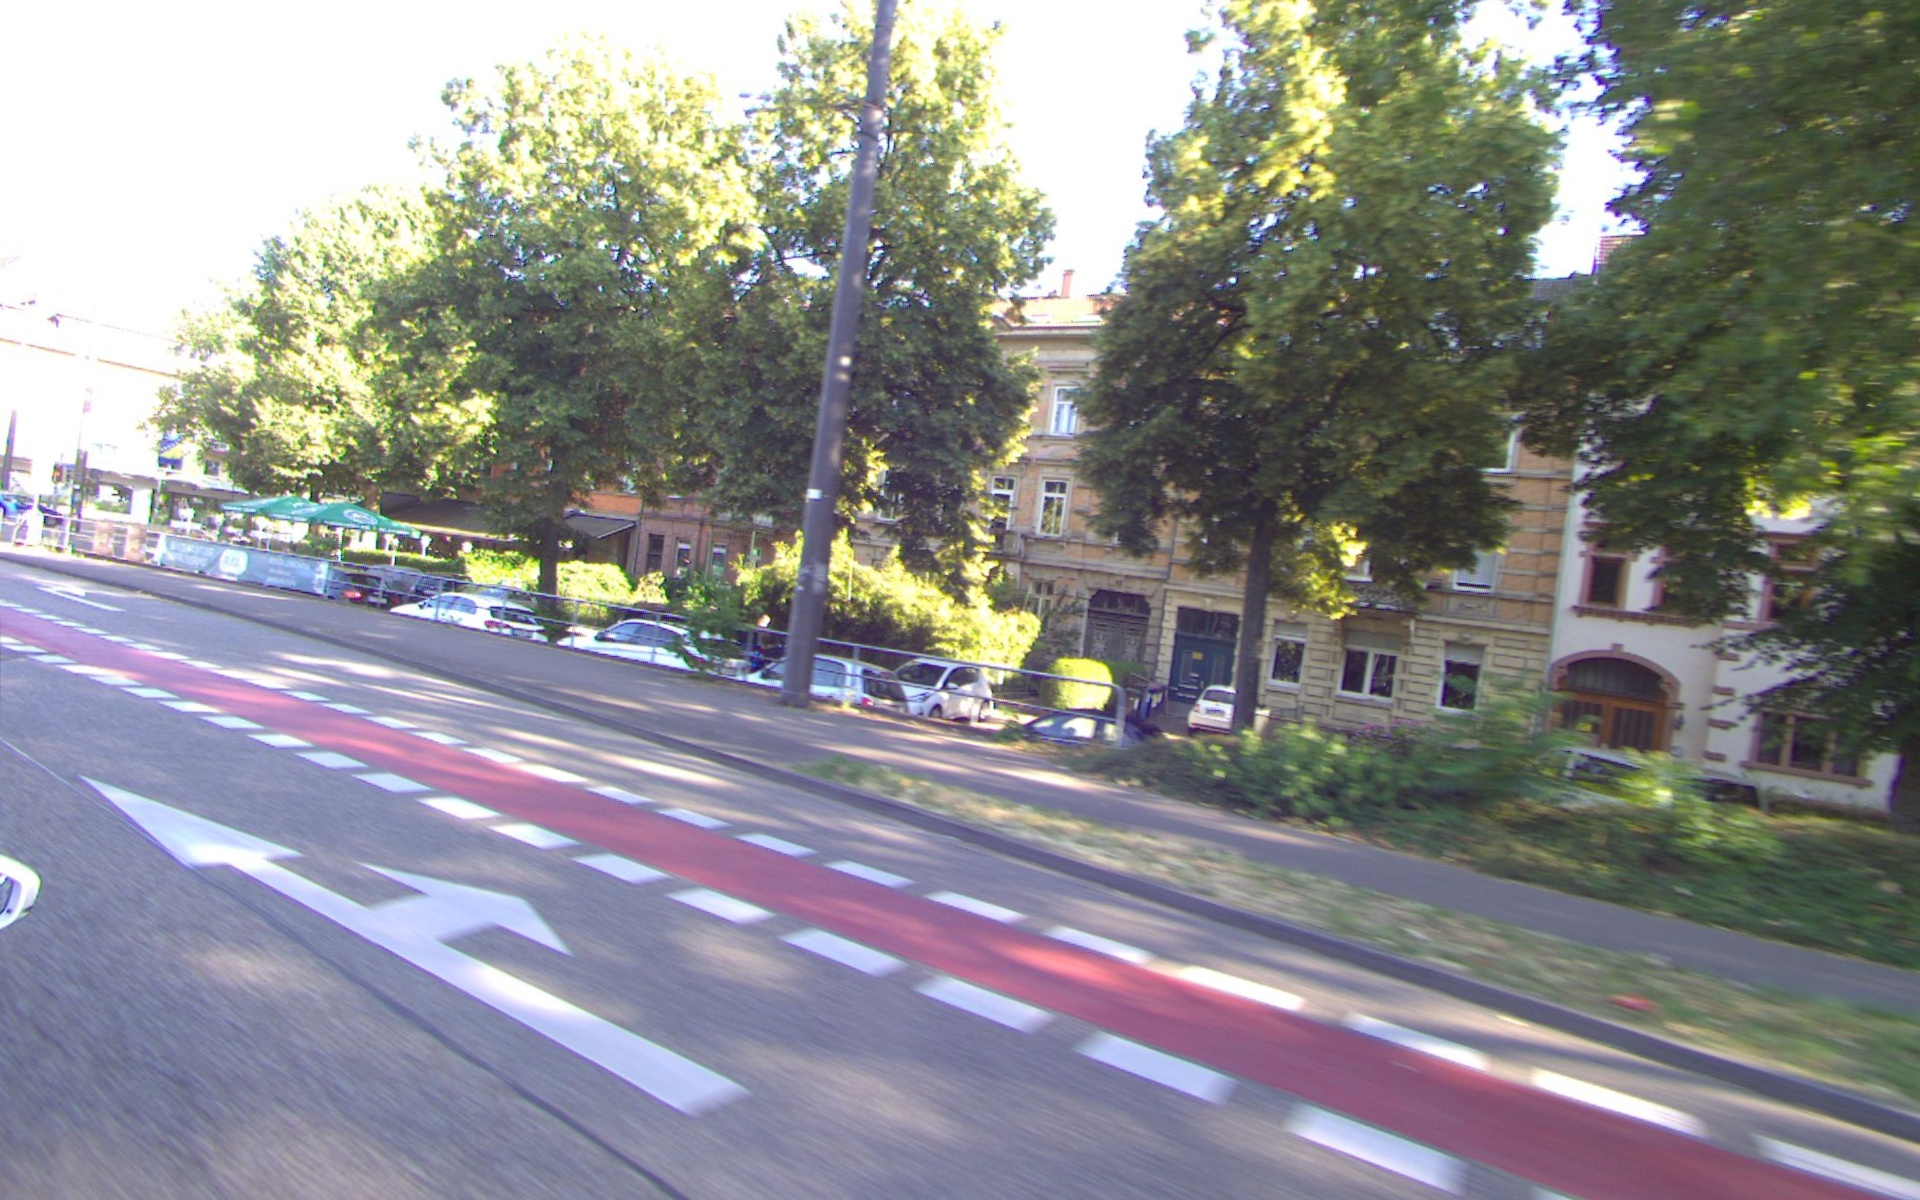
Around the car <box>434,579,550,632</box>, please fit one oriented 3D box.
[{"bbox_3d":[-15.527,0.151,33.657,1.929,1.424,4.246,7,1,-3],"label":"car"}]

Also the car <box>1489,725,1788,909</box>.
[{"bbox_3d":[11.627,3.629,17.764,1.838,1.991,4.680,7,1,0],"label":"car"}]

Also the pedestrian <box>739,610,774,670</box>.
[{"bbox_3d":[-6.376,1.258,31.575,0.621,1.767,0.649,7,0,27],"label":"pedestrian"}]

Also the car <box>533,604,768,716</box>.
[{"bbox_3d":[-6.162,1.170,19.889,4.478,1.597,1.798,6,-2,31],"label":"car"}]

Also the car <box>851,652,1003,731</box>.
[{"bbox_3d":[-0.710,2.180,24.611,1.769,1.533,3.993,8,1,29],"label":"car"}]

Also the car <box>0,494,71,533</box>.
[{"bbox_3d":[-47.316,-4.418,50.240,1.766,1.528,4.004,7,-1,13],"label":"car"}]

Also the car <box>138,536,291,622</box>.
[{"bbox_3d":[-21.430,-0.623,28.891,4.285,1.920,1.798,6,-2,30],"label":"car"}]

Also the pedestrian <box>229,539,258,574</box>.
[{"bbox_3d":[-30.330,-1.852,42.569,0.621,1.352,0.650,7,-2,32],"label":"pedestrian"}]

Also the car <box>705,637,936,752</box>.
[{"bbox_3d":[-2.449,1.617,17.602,3.517,1.458,1.798,6,-2,30],"label":"car"}]

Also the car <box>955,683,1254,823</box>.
[{"bbox_3d":[2.125,2.181,15.025,3.932,1.324,1.798,6,-2,30],"label":"car"}]

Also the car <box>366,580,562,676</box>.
[{"bbox_3d":[-11.276,0.623,22.805,4.369,1.597,1.798,6,-2,31],"label":"car"}]

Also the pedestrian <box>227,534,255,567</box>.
[{"bbox_3d":[-32.710,-2.250,45.772,0.621,1.352,0.650,7,-2,32],"label":"pedestrian"}]

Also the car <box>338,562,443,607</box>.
[{"bbox_3d":[-20.897,-0.569,37.129,1.748,1.365,3.995,7,1,-5],"label":"car"}]

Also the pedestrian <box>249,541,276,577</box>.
[{"bbox_3d":[-27.877,-1.625,40.205,0.643,1.352,0.627,10,-2,-28],"label":"pedestrian"}]

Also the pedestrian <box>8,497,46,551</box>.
[{"bbox_3d":[-29.685,-2.416,32.016,0.646,1.580,0.625,10,-3,-40],"label":"pedestrian"}]

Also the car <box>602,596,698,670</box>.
[{"bbox_3d":[-9.061,0.910,29.717,1.768,1.757,3.994,7,1,-6],"label":"car"}]

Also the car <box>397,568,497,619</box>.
[{"bbox_3d":[-18.190,-0.263,35.895,1.769,1.498,3.993,7,1,-7],"label":"car"}]

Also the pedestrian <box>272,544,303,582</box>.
[{"bbox_3d":[-26.368,-1.460,39.452,0.621,1.352,0.650,7,-2,32],"label":"pedestrian"}]

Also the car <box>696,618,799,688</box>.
[{"bbox_3d":[-5.870,1.421,28.262,1.766,1.533,3.999,8,1,2],"label":"car"}]

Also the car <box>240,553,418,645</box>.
[{"bbox_3d":[-16.402,-0.028,26.135,4.136,1.824,1.800,6,-2,25],"label":"car"}]

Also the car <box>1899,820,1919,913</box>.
[{"bbox_3d":[16.626,4.513,14.814,1.658,1.470,3.922,7,1,-2],"label":"car"}]

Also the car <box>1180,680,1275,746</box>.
[{"bbox_3d":[7.936,3.274,29.627,1.769,1.541,3.571,7,0,29],"label":"car"}]

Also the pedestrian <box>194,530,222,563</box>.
[{"bbox_3d":[-33.990,-2.427,45.483,0.621,1.352,0.650,7,-2,32],"label":"pedestrian"}]
